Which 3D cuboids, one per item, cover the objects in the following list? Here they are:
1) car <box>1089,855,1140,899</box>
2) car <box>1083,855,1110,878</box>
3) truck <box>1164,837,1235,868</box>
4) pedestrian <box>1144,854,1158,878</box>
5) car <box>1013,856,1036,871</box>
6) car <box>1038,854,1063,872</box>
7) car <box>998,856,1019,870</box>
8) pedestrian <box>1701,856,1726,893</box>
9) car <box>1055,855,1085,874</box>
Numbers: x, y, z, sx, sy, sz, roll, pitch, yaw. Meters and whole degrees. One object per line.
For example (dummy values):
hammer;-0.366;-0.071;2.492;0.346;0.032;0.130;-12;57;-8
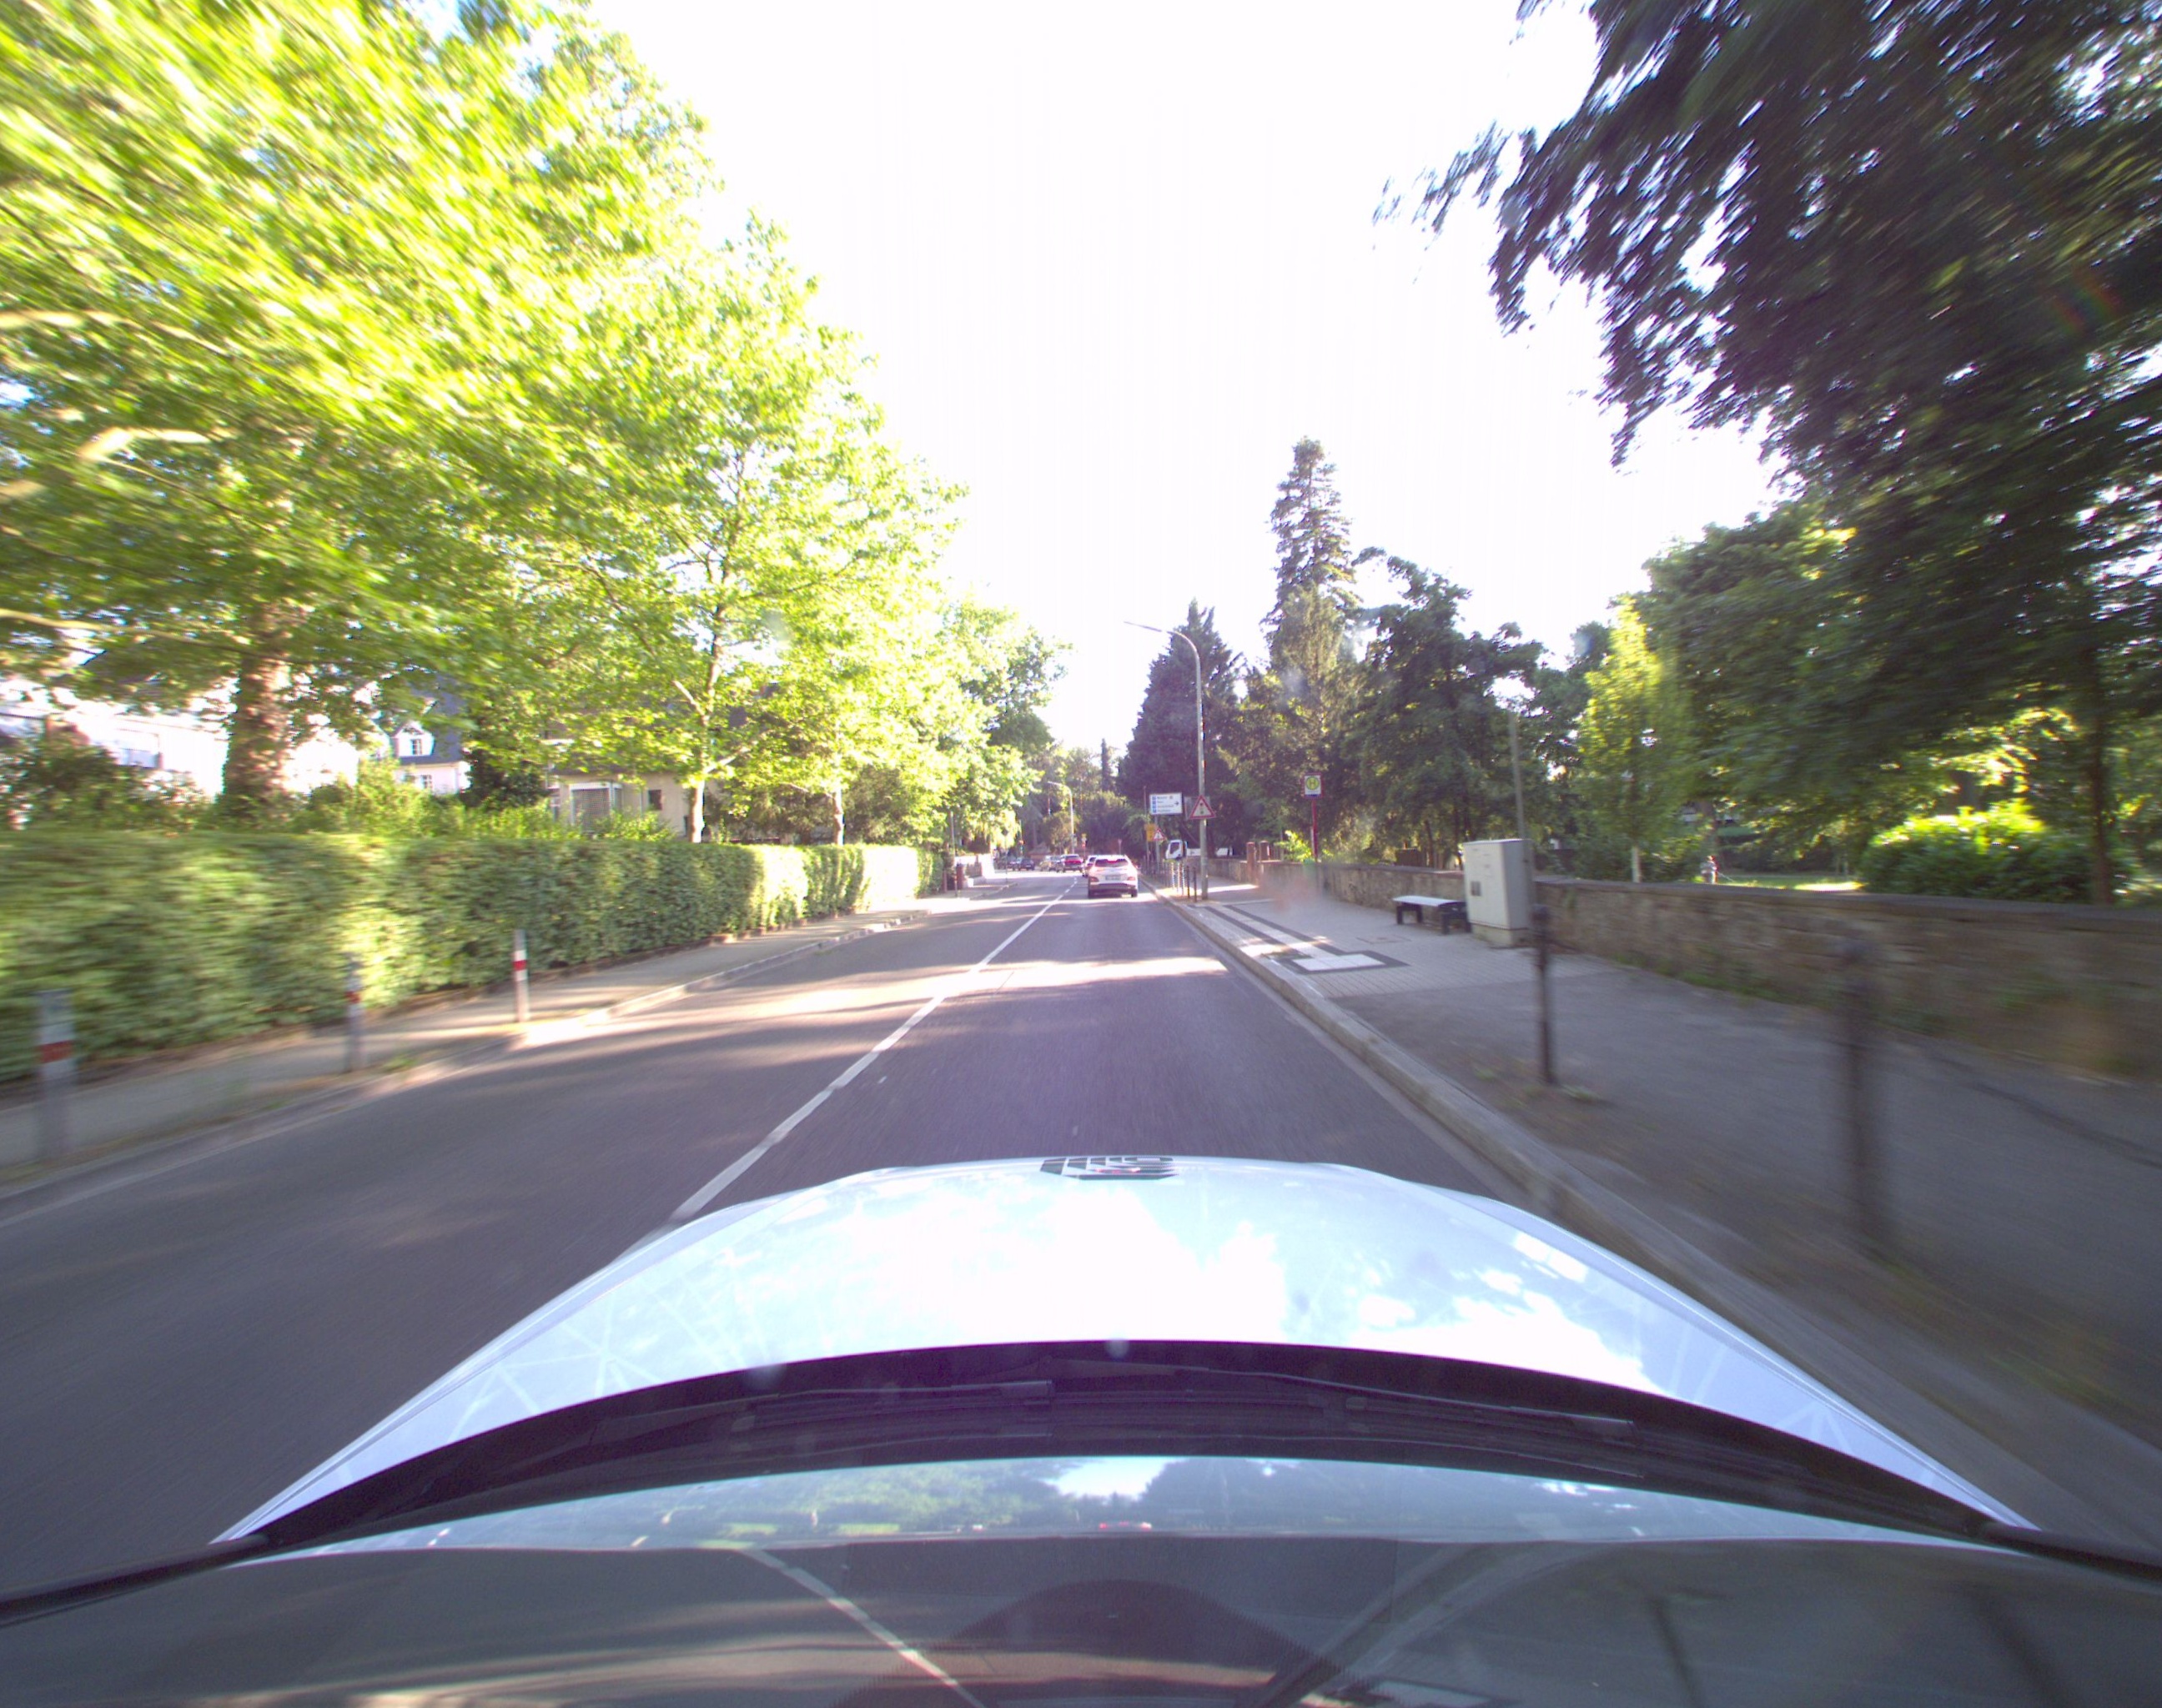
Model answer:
car;1.221;0.829;31.008;1.814;1.574;4.001;0;0;1
car;1.098;0.818;56.613;1.799;1.537;4.000;-1;0;1
truck;11.263;-0.123;77.827;6.553;2.895;2.437;-1;0;6
pedestrian;5.451;0.913;62.995;0.947;1.826;0.548;-1;1;-37
car;-6.329;1.033;90.798;1.835;1.662;3.978;-1;0;-16
car;-3.042;0.893;80.805;1.833;1.740;3.984;-1;0;-12
car;-9.146;1.101;102.147;1.836;1.662;3.977;-1;0;-17
pedestrian;28.499;0.910;36.709;0.612;1.640;0.637;0;-1;3
car;-1.033;0.907;72.505;1.834;1.662;3.982;-1;0;-13
